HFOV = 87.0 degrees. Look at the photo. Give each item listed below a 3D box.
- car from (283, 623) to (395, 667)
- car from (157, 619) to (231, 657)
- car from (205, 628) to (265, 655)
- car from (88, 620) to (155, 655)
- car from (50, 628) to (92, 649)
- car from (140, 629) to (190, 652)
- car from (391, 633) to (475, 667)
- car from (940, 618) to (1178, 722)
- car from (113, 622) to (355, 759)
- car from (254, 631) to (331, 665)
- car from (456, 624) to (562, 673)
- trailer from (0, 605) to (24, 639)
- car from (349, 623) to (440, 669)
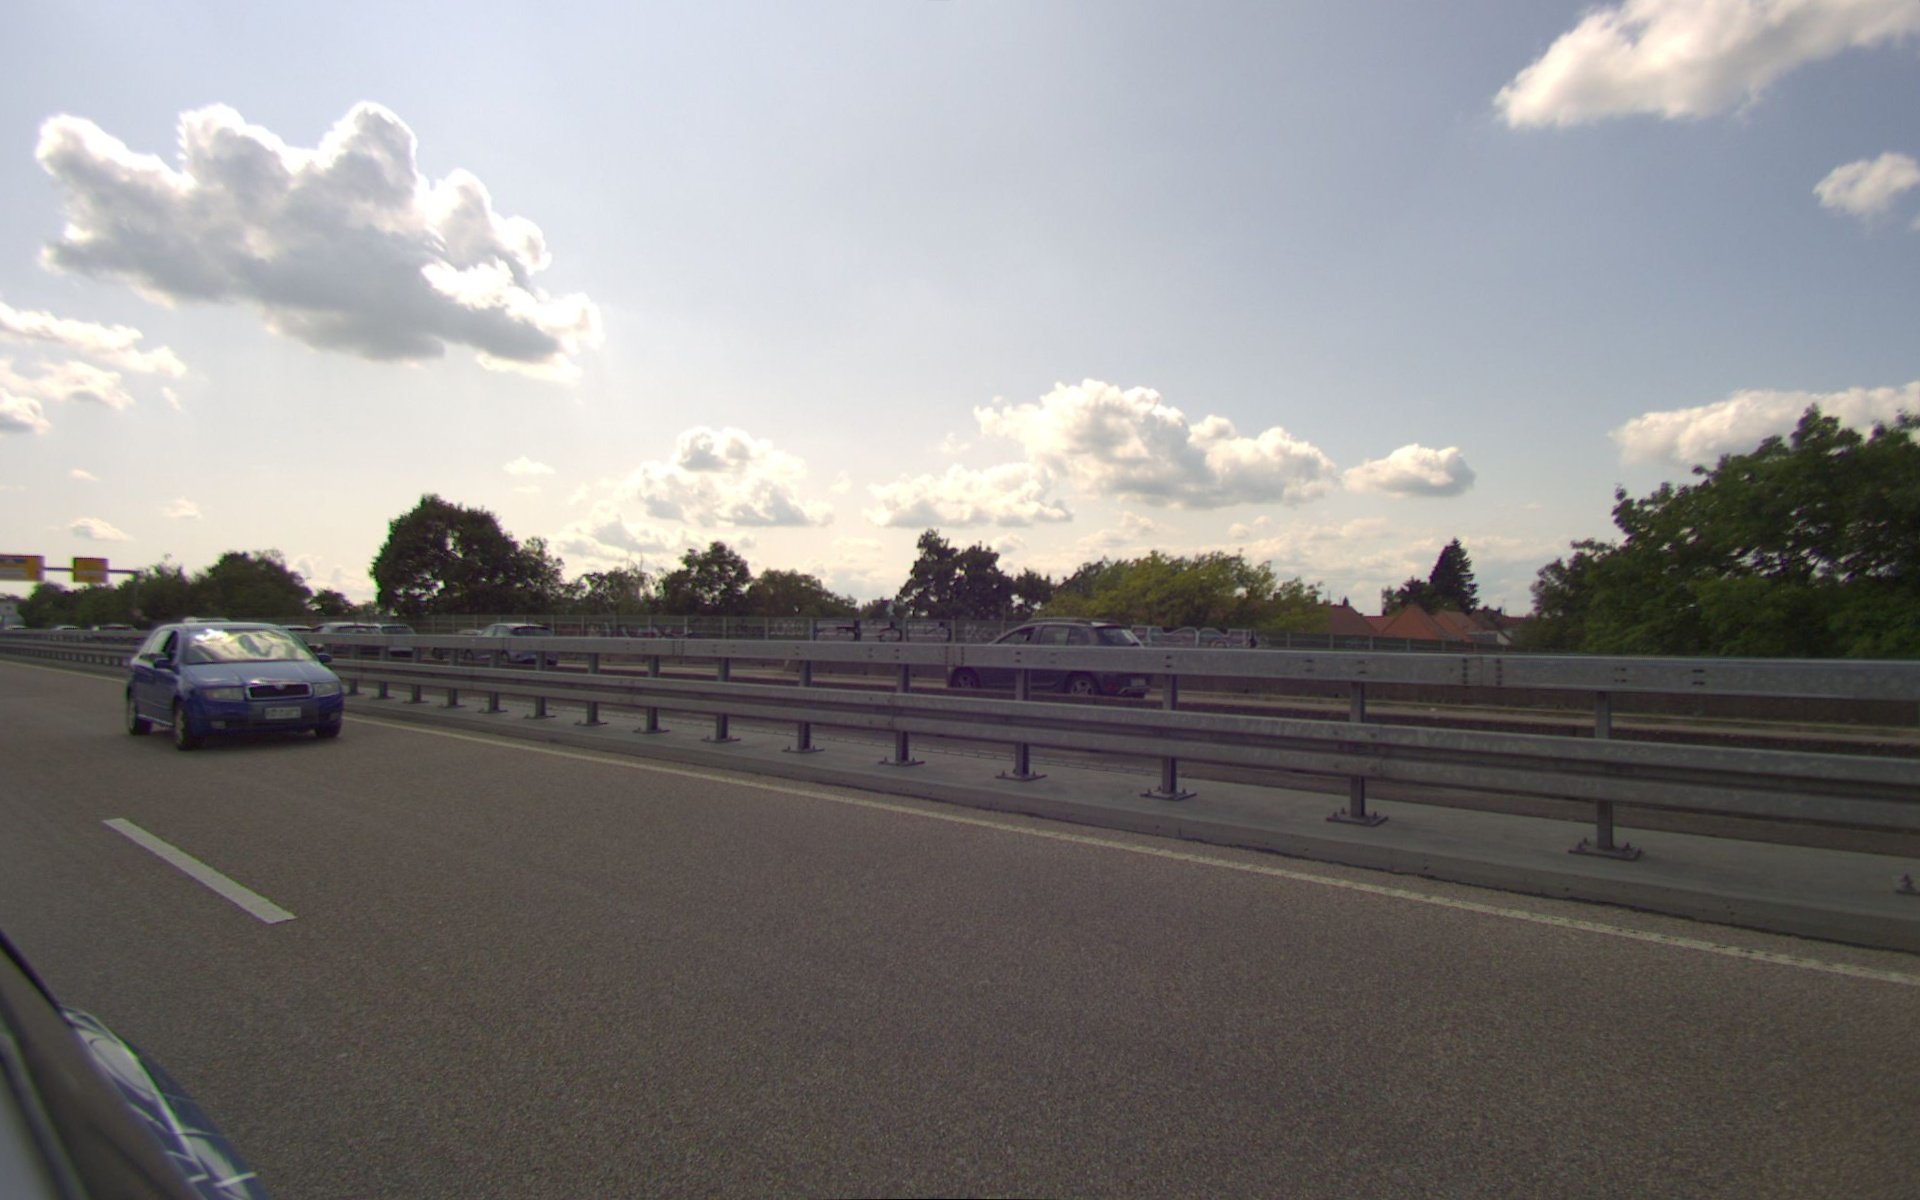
[{"bbox_3d":[-18.538,1.306,30.152,3.997,1.194,1.664,-1,0,40],"label":"car"},{"bbox_3d":[-41.999,2.089,55.435,5.184,1.940,1.941,-2,-1,38],"label":"car"},{"bbox_3d":[-44.042,2.501,61.458,4.278,1.586,1.905,-1,-2,39],"label":"car"},{"bbox_3d":[-40.016,1.766,48.263,4.056,1.583,1.659,-1,0,38],"label":"car"},{"bbox_3d":[-71.714,3.089,81.631,3.883,1.586,1.905,-1,0,39],"label":"car"},{"bbox_3d":[-57.507,2.887,73.201,4.278,1.586,1.905,-1,-2,39],"label":"car"},{"bbox_3d":[-23.543,2.216,45.185,3.988,1.397,1.630,-1,0,33],"label":"car"},{"bbox_3d":[1.730,1.169,18.393,3.997,1.651,1.803,-1,0,40],"label":"car"},{"bbox_3d":[-9.114,1.001,12.608,3.769,1.422,1.605,-1,0,41],"label":"car"},{"bbox_3d":[-30.194,2.160,45.754,4.042,1.400,1.767,-3,-1,39],"label":"car"},{"bbox_3d":[-14.607,1.556,32.708,3.627,1.486,1.582,-1,-4,38],"label":"car"},{"bbox_3d":[-107.819,2.445,113.727,11.022,3.697,2.657,-1,0,41],"label":"trailer"},{"bbox_3d":[-22.378,1.818,39.992,4.405,1.724,1.566,-3,-1,39],"label":"car"}]
